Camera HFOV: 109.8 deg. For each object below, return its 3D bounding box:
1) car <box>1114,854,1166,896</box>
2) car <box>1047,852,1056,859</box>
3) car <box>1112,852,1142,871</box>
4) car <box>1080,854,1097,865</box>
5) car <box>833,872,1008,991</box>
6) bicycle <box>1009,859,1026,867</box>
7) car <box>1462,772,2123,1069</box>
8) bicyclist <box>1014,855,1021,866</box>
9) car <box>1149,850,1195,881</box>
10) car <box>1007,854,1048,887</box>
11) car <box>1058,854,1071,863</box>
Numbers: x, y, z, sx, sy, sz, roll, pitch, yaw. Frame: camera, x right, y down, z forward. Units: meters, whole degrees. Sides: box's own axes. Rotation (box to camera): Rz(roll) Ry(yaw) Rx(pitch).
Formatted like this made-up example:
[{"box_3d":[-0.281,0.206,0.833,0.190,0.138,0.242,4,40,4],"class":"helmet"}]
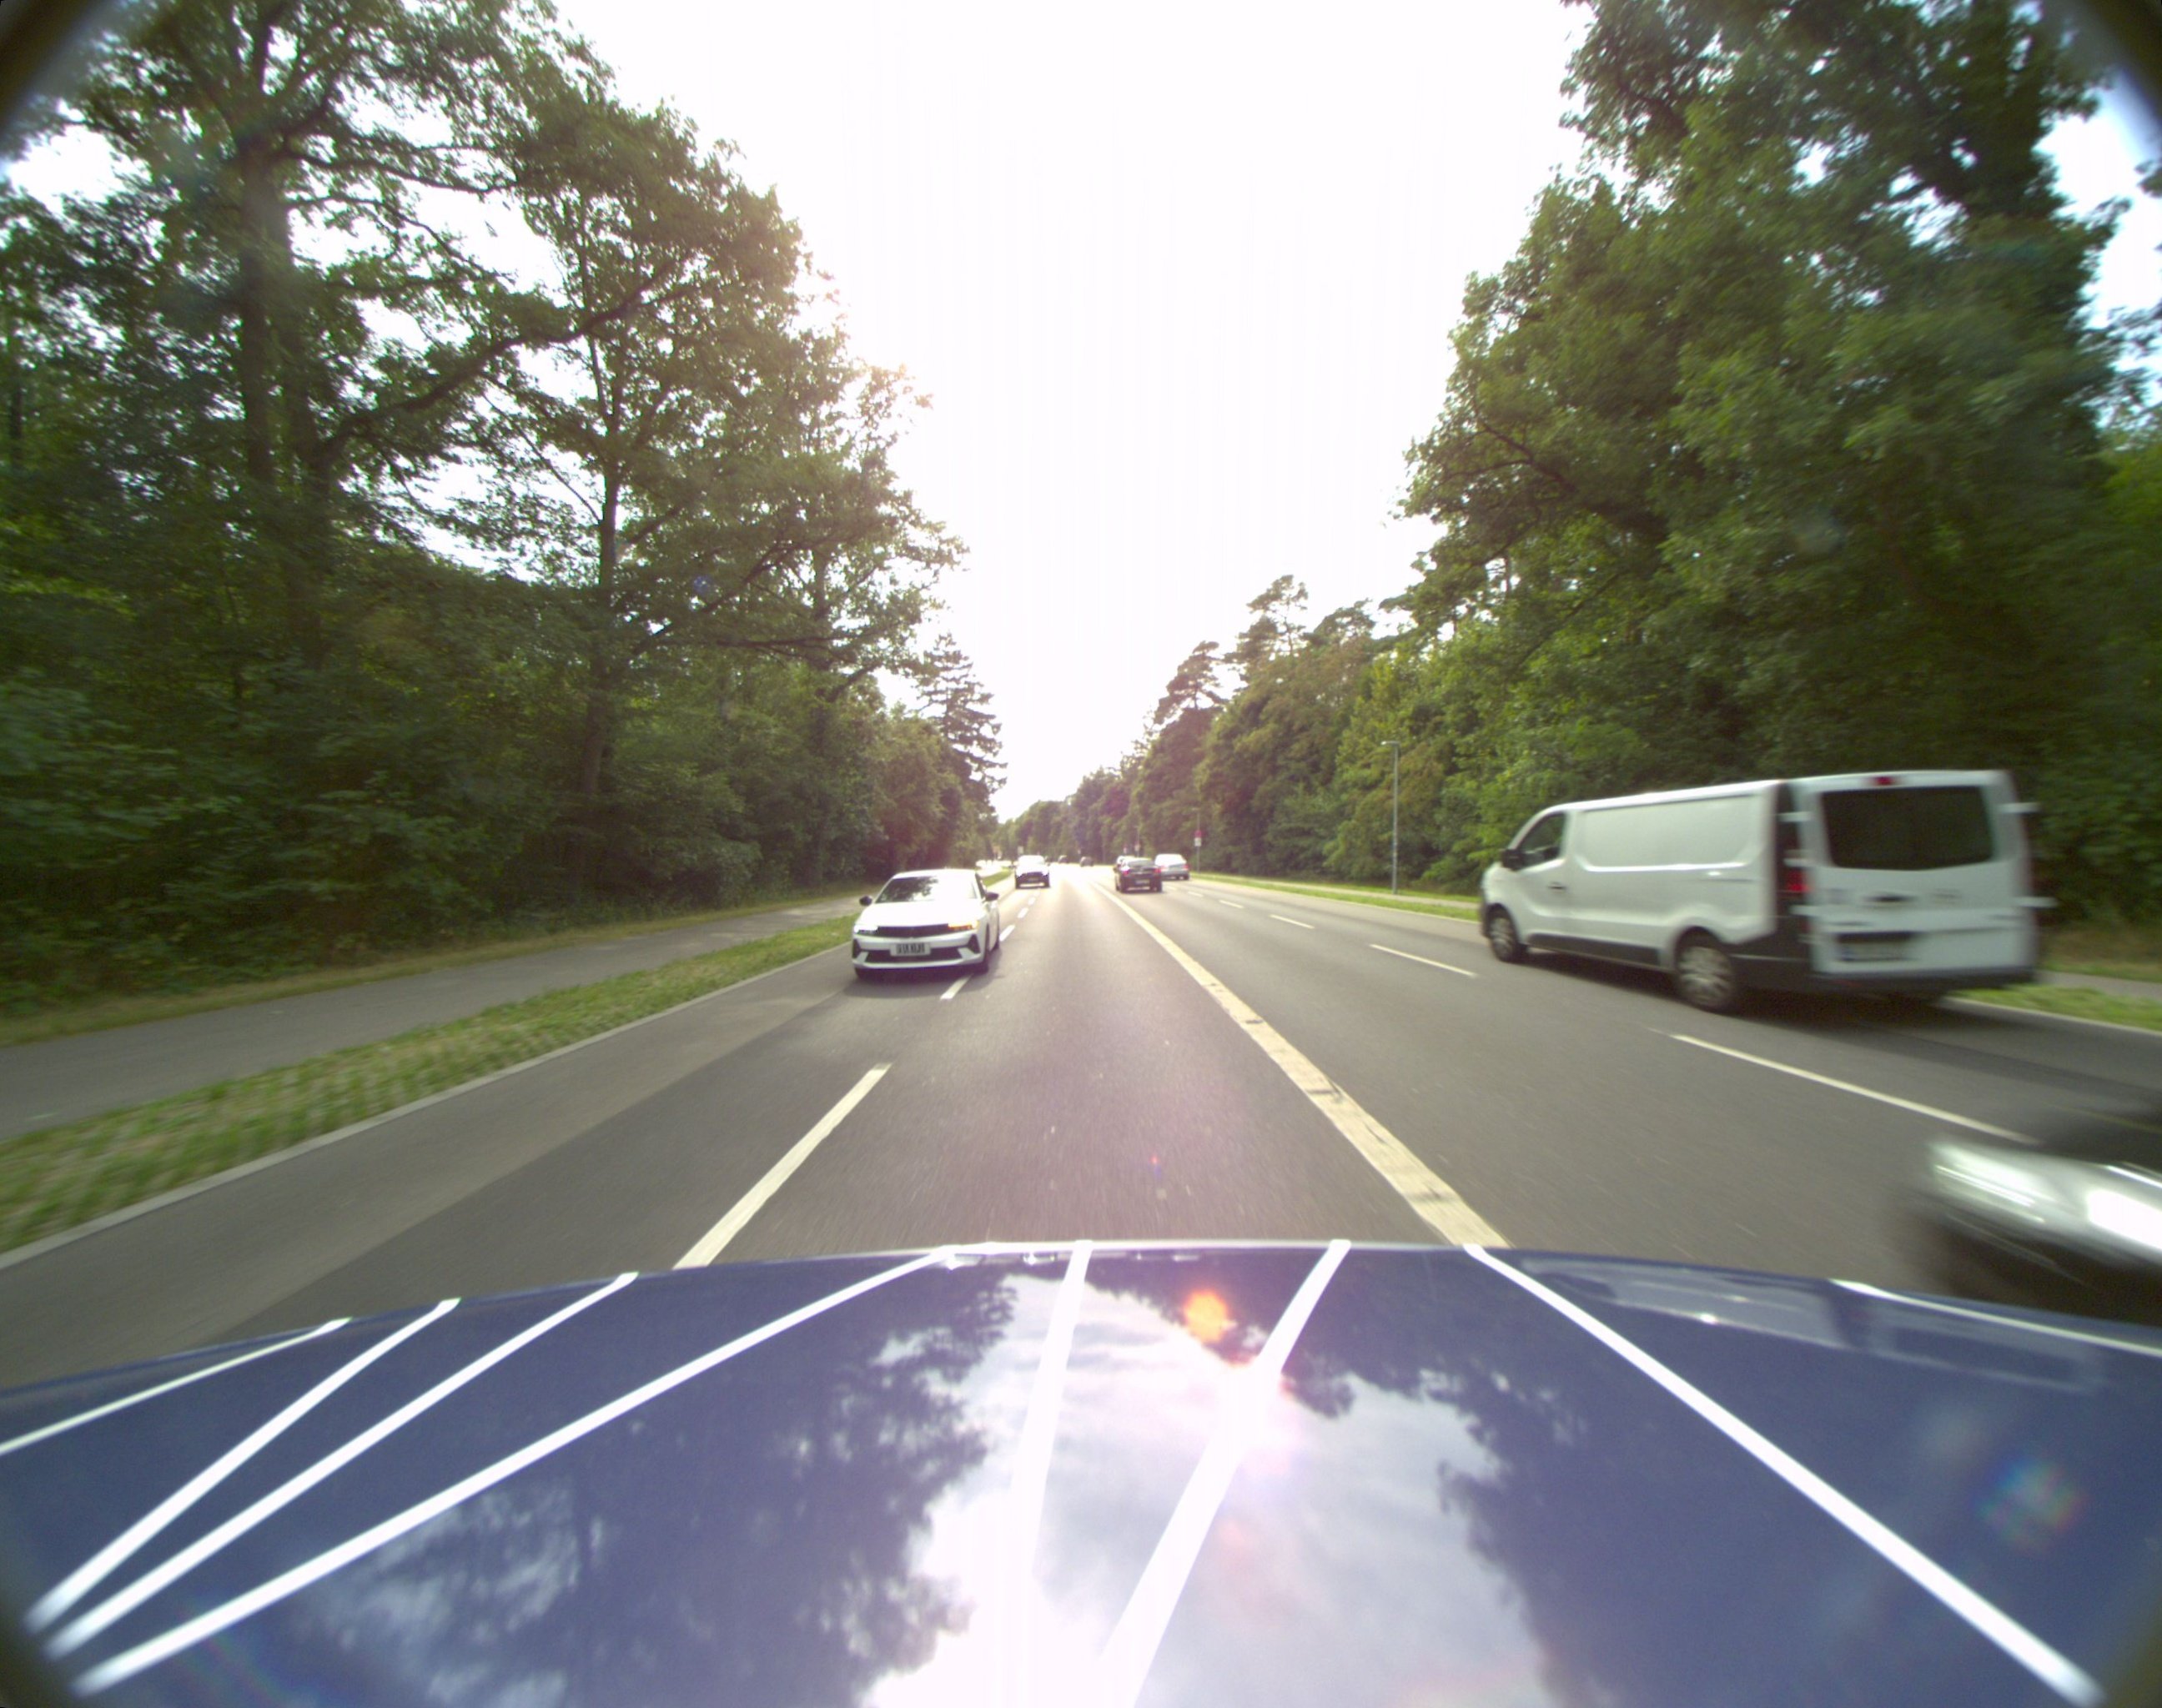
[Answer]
[{"box_3d":[2.429,0.829,31.965,1.661,1.477,3.865,-3,1,-2],"class":"car"},{"box_3d":[-7.177,0.369,183.766,1.929,1.646,4.467,-2,1,-4],"class":"car"},{"box_3d":[3.926,0.649,65.279,1.886,1.434,4.401,-3,1,-5],"class":"car"},{"box_3d":[1.098,0.779,111.352,1.902,1.475,4.535,-3,2,-5],"class":"car"},{"box_3d":[-2.220,1.018,11.721,1.841,1.401,4.490,-1,-1,-2],"class":"car"},{"box_3d":[-8.721,1.272,104.267,2.180,0.988,0.711,-1,0,-5],"class":"bicycle"},{"box_3d":[6.139,0.466,7.729,1.998,2.002,5.054,-1,0,0],"class":"car"},{"box_3d":[-8.759,0.847,104.238,0.901,1.462,0.711,-2,1,-5],"class":"bicyclist"},{"box_3d":[5.293,0.625,44.638,1.999,1.554,4.602,-3,1,-1],"class":"car"},{"box_3d":[-2.825,0.863,41.093,1.999,1.565,3.999,-2,1,-2],"class":"car"},{"box_3d":[-3.338,0.869,155.856,1.999,1.607,4.660,-7,1,-7],"class":"car"}]
